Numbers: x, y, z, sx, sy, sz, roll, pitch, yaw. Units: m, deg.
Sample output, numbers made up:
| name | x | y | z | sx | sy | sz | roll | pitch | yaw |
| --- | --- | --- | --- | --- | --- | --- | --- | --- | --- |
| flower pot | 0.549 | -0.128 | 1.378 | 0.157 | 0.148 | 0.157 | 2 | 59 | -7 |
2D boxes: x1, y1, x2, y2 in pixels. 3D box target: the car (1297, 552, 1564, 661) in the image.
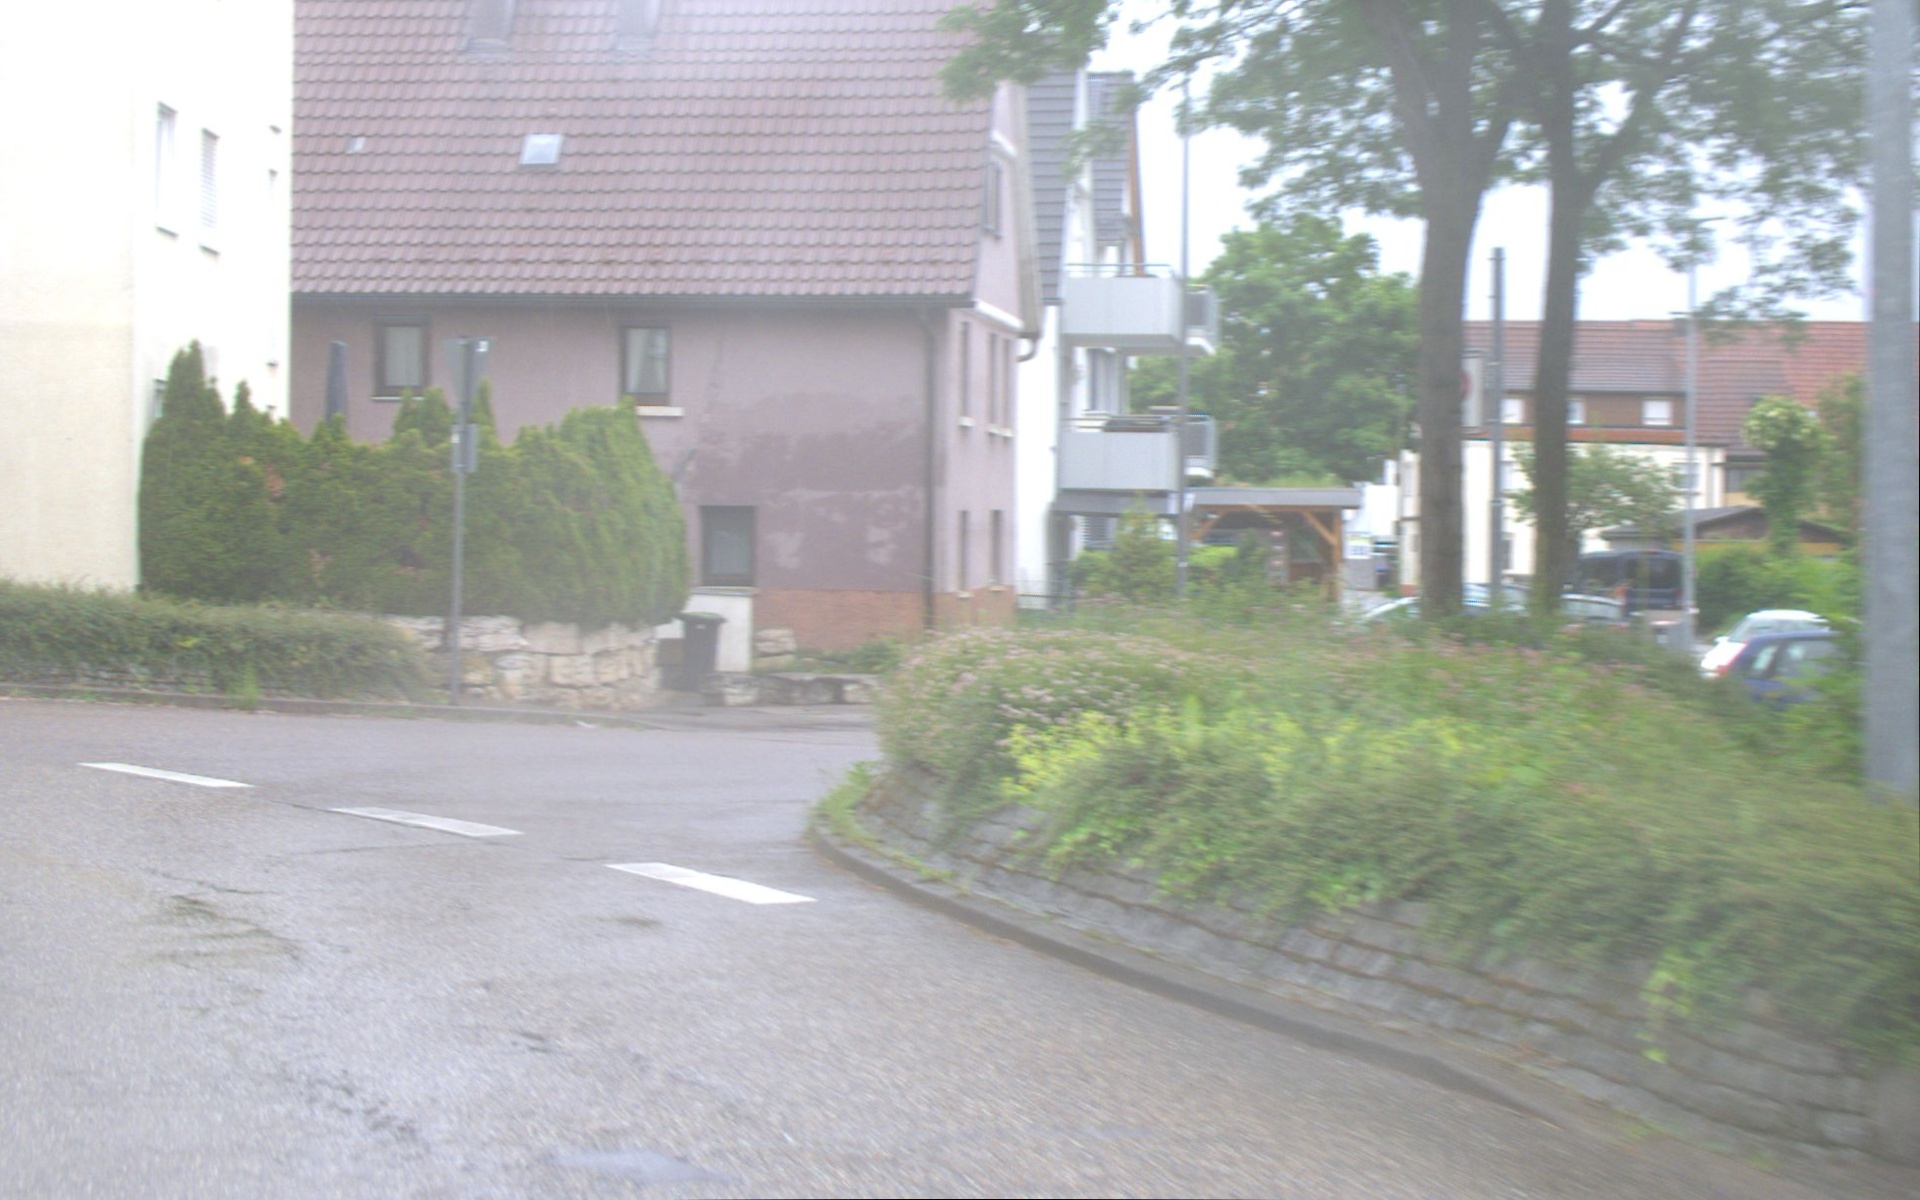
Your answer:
| name | x | y | z | sx | sy | sz | roll | pitch | yaw |
| --- | --- | --- | --- | --- | --- | --- | --- | --- | --- |
| car | 7.322 | 0.089 | 53.615 | 3.988 | 1.451 | 1.946 | 3 | 1 | 8 |

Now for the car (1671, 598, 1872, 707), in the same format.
| name | x | y | z | sx | sy | sz | roll | pitch | yaw |
| --- | --- | --- | --- | --- | --- | --- | --- | --- | --- |
| car | 12.400 | 0.790 | 52.362 | 1.755 | 1.531 | 4.142 | 3 | 1 | 31 |

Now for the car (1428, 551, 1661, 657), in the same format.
| name | x | y | z | sx | sy | sz | roll | pitch | yaw |
| --- | --- | --- | --- | --- | --- | --- | --- | --- | --- |
| car | 10.492 | 0.052 | 61.917 | 3.988 | 1.691 | 1.999 | 3 | 1 | 8 |

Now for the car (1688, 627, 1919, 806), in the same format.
| name | x | y | z | sx | sy | sz | roll | pitch | yaw |
| --- | --- | --- | --- | --- | --- | --- | --- | --- | --- |
| car | 8.234 | 1.010 | 29.288 | 1.619 | 1.385 | 3.733 | 2 | 1 | -40 |

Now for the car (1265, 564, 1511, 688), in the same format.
| name | x | y | z | sx | sy | sz | roll | pitch | yaw |
| --- | --- | --- | --- | --- | --- | --- | --- | --- | --- |
| car | 7.361 | 0.427 | 58.940 | 3.989 | 1.875 | 1.839 | 3 | 1 | 10 |
